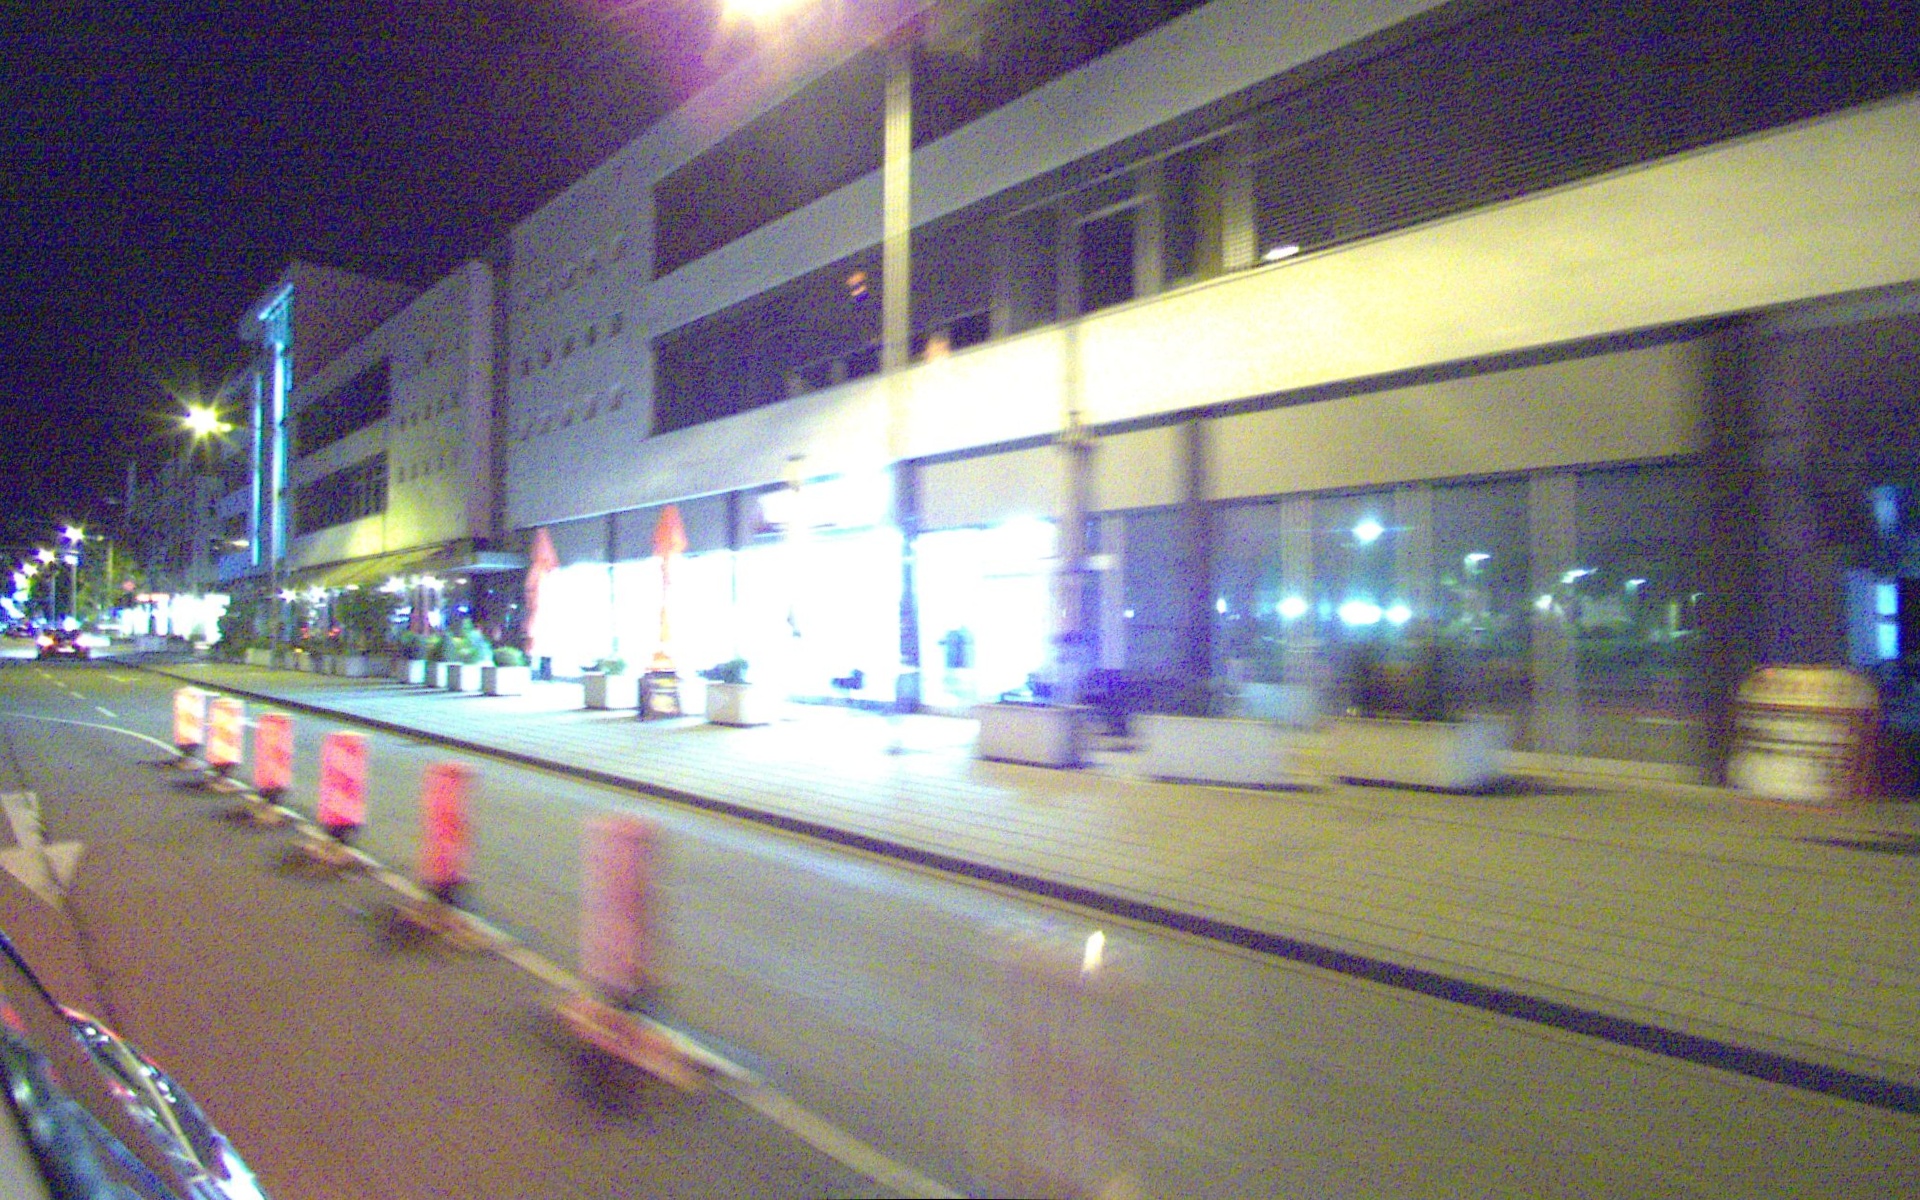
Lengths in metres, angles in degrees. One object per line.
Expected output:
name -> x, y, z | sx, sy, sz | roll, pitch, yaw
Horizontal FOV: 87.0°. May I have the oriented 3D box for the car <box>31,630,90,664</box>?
car -> -40.829, 2.106, 45.914 | 4.001, 1.439, 1.648 | -2, -4, 44
